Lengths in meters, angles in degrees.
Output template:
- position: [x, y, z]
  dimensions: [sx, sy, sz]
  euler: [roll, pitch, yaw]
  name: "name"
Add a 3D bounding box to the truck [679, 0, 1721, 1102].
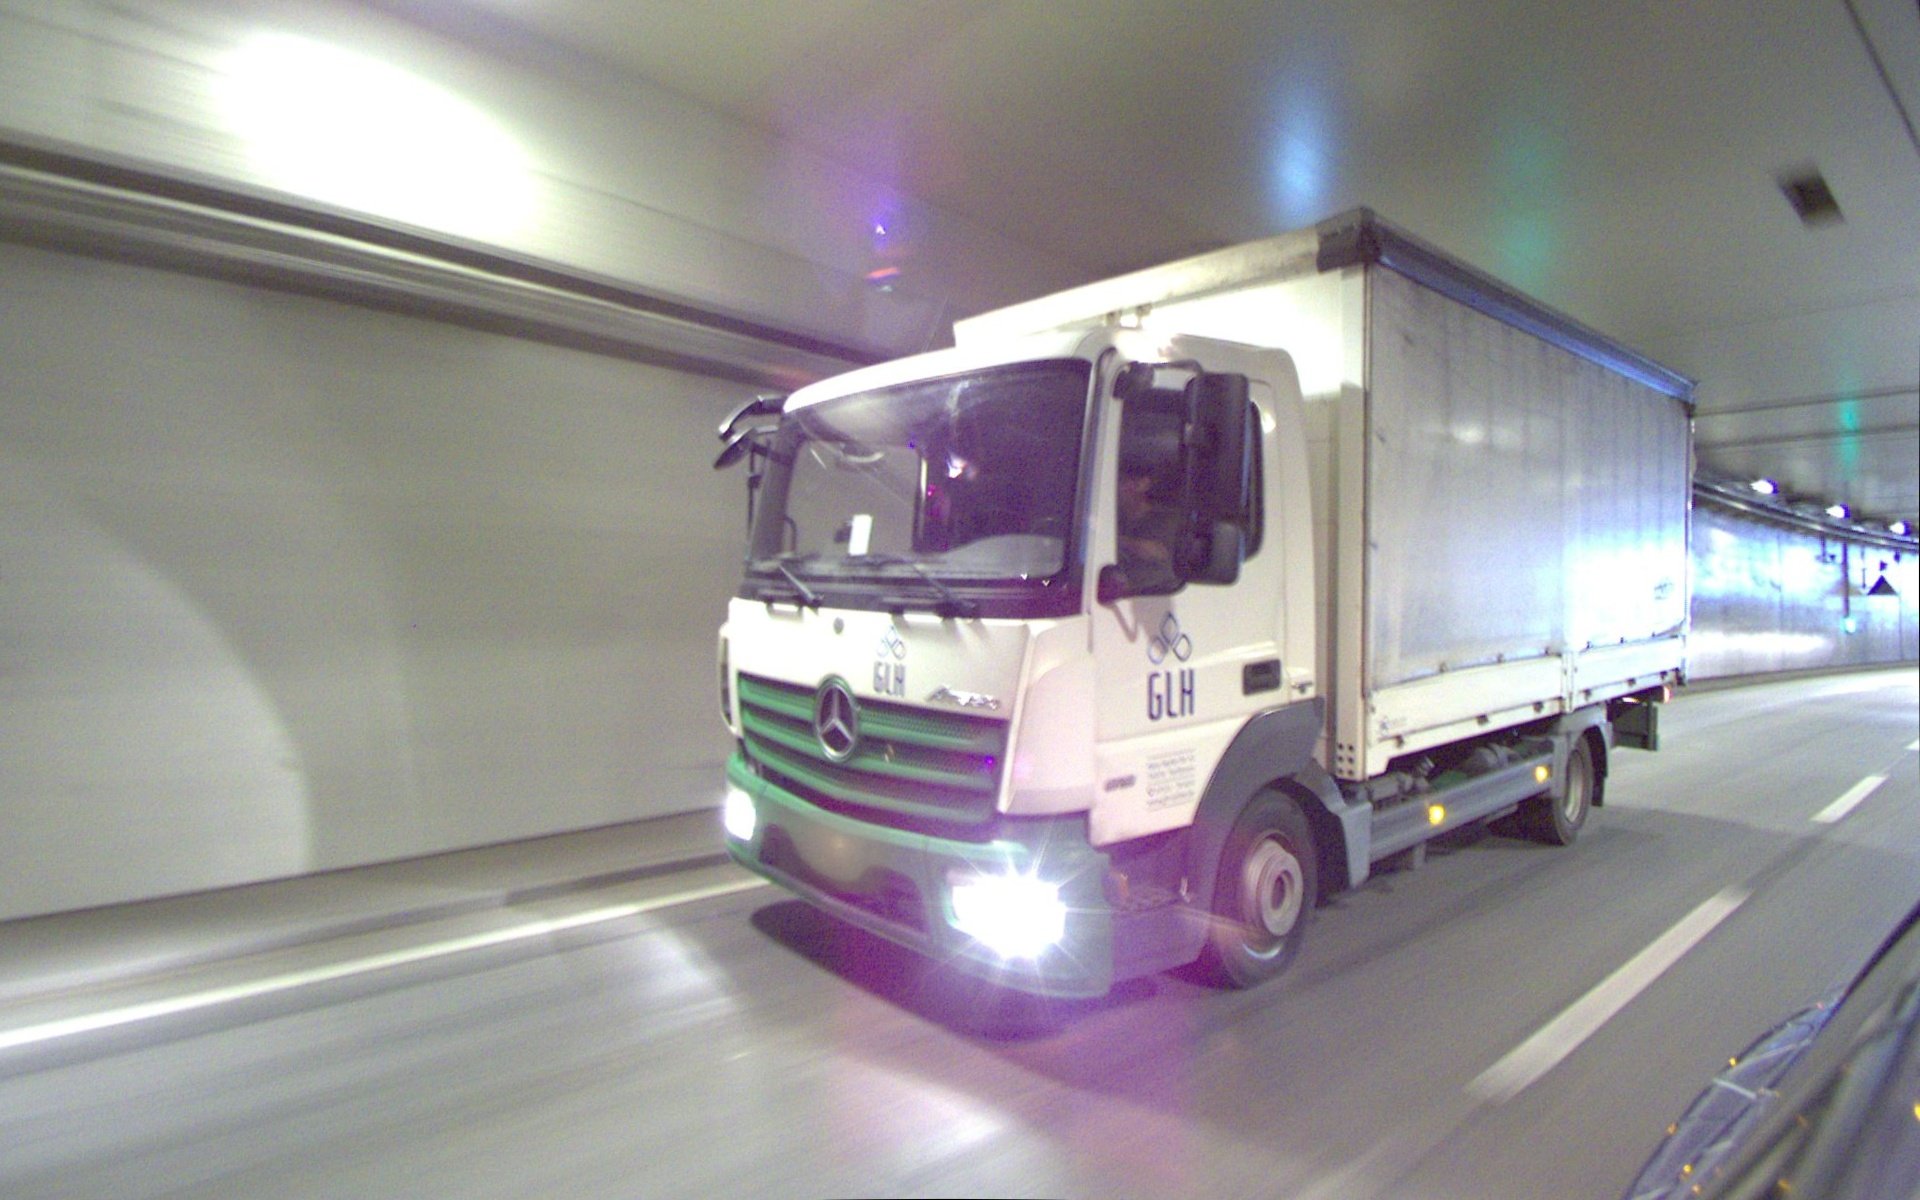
- position: [2.195, -0.143, 6.183]
  dimensions: [7.119, 3.222, 2.557]
  euler: [2, -1, -42]
  name: "truck"
